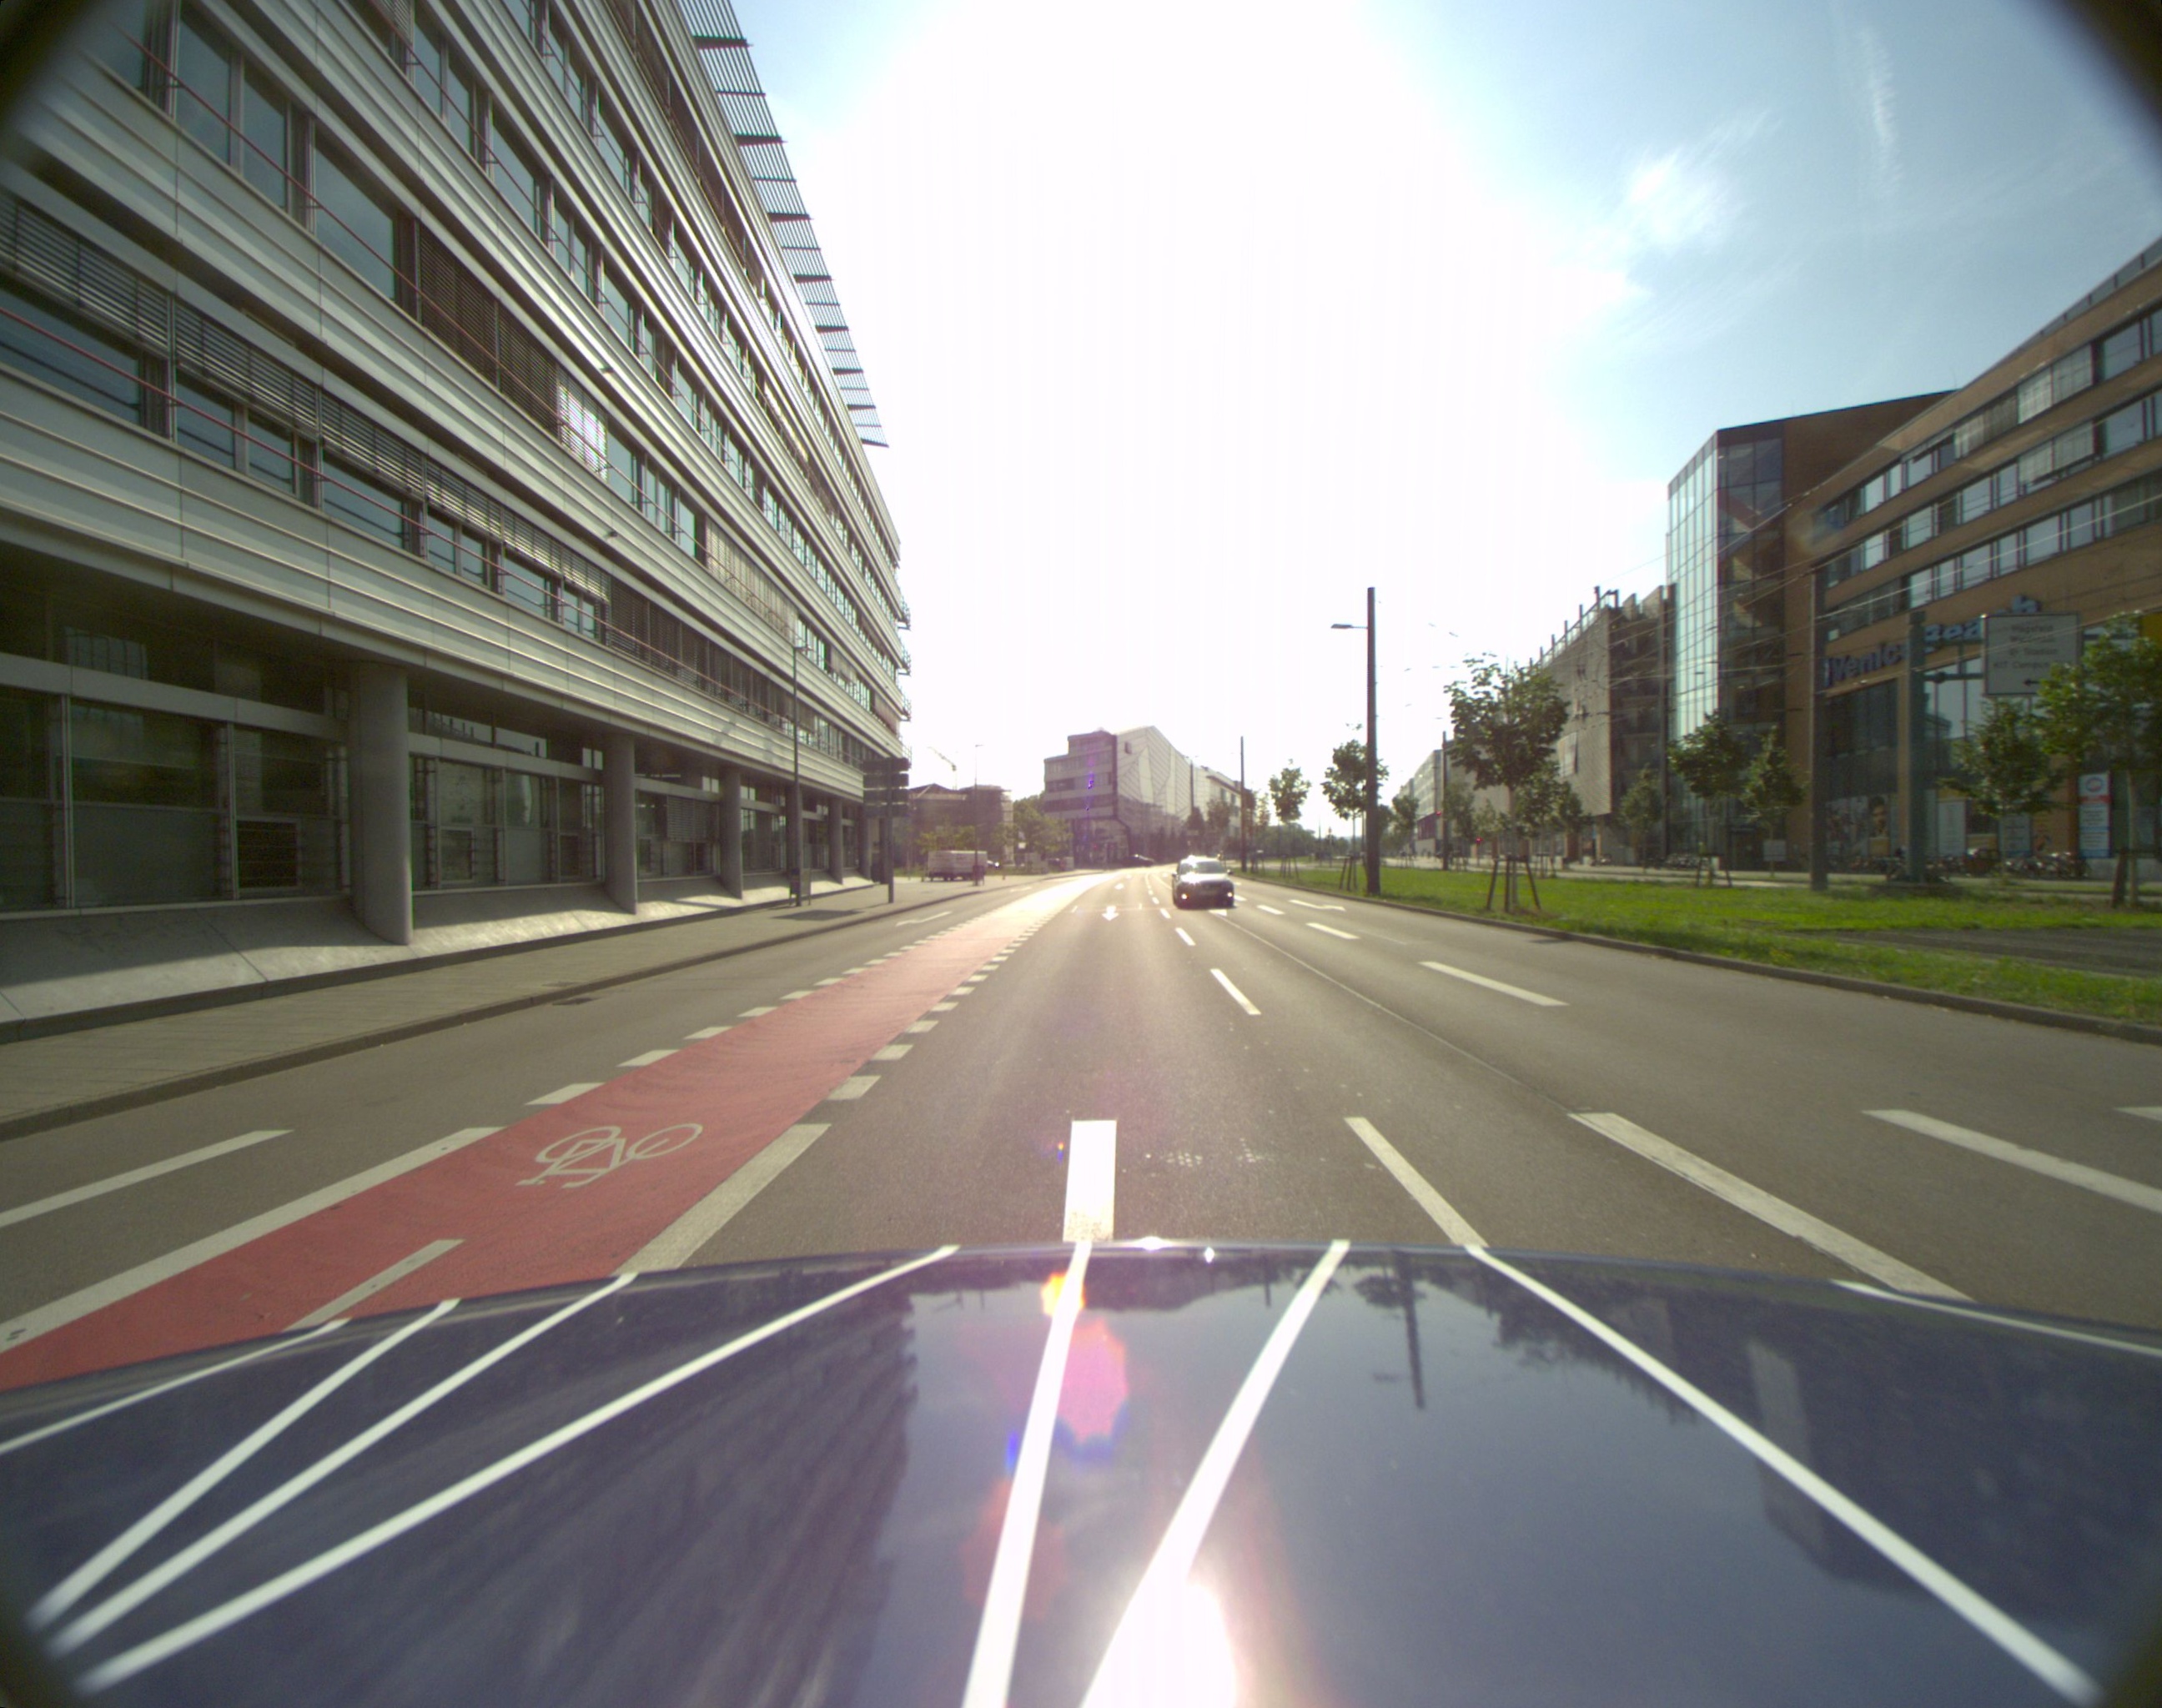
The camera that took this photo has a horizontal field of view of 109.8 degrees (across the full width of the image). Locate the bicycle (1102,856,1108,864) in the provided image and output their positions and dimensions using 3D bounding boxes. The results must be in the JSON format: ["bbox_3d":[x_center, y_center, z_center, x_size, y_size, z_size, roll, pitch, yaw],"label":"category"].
[{"bbox_3d":[3.447,0.854,109.700,0.669,1.092,1.805,-1,2,8],"label":"bicycle"}]

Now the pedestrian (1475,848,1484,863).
[{"bbox_3d":[43.107,0.165,82.198,0.762,1.570,0.590,0,1,14],"label":"pedestrian"}]

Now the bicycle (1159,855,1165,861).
[{"bbox_3d":[13.963,0.693,130.712,0.418,1.050,1.963,0,2,25],"label":"bicycle"}]

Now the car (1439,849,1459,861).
[{"bbox_3d":[39.348,0.096,81.216,1.367,1.199,2.640,0,2,13],"label":"car"}]

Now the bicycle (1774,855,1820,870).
[{"bbox_3d":[44.047,0.514,46.747,2.051,0.916,0.574,-1,1,13],"label":"bicycle"}]

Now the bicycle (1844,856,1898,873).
[{"bbox_3d":[42.695,0.575,41.063,2.051,0.916,0.574,-1,1,13],"label":"bicycle"}]

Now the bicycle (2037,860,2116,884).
[{"bbox_3d":[40.673,0.735,31.066,2.051,0.916,0.574,-1,1,13],"label":"bicycle"}]

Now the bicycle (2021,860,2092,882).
[{"bbox_3d":[40.803,0.711,31.792,2.051,0.916,0.381,-1,1,13],"label":"bicycle"}]

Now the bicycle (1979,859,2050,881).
[{"bbox_3d":[41.035,0.701,33.423,2.051,0.916,0.574,-1,1,13],"label":"bicycle"}]

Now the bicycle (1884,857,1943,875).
[{"bbox_3d":[42.160,0.611,38.485,2.051,0.916,0.574,-1,1,13],"label":"bicycle"}]

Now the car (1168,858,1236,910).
[{"bbox_3d":[3.692,0.875,23.755,1.643,1.411,3.895,-1,1,3],"label":"car"}]

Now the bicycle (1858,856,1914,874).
[{"bbox_3d":[42.555,0.605,40.201,2.051,0.916,0.574,-1,1,13],"label":"bicycle"}]

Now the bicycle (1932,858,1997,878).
[{"bbox_3d":[41.725,0.676,35.905,2.051,0.916,0.574,-1,1,13],"label":"bicycle"}]

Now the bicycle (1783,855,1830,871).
[{"bbox_3d":[43.904,0.537,46.024,2.051,0.916,0.574,-1,1,13],"label":"bicycle"}]

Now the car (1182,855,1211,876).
[{"bbox_3d":[7.838,0.750,51.855,1.587,1.335,3.165,-1,0,2],"label":"car"}]

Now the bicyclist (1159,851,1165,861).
[{"bbox_3d":[13.977,0.372,130.677,0.781,1.577,0.933,0,2,25],"label":"bicyclist"}]

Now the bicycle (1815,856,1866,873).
[{"bbox_3d":[43.131,0.602,43.185,2.051,0.916,0.574,-1,1,13],"label":"bicycle"}]

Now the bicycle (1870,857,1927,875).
[{"bbox_3d":[42.368,0.610,39.380,2.051,0.916,0.574,-1,1,13],"label":"bicycle"}]

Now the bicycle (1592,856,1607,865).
[{"bbox_3d":[45.111,0.559,66.126,1.022,0.747,0.361,-1,1,20],"label":"bicycle"}]

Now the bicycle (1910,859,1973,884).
[{"bbox_3d":[35.209,0.709,31.100,1.679,0.902,0.710,-2,1,3],"label":"bicycle"}]

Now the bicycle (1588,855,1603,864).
[{"bbox_3d":[45.515,0.510,67.248,1.004,0.747,0.453,-1,0,20],"label":"bicycle"}]

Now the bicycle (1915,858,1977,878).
[{"bbox_3d":[41.859,0.664,36.788,2.051,0.916,0.574,-1,1,13],"label":"bicycle"}]

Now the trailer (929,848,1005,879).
[{"bbox_3d":[-8.313,0.653,56.043,2.390,2.138,5.960,-1,0,30],"label":"trailer"}]

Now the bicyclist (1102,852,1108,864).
[{"bbox_3d":[3.456,0.562,109.785,0.669,1.693,0.637,-1,2,8],"label":"bicyclist"}]

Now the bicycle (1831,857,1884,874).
[{"bbox_3d":[42.856,0.617,41.972,2.051,0.916,0.574,-1,1,13],"label":"bicycle"}]

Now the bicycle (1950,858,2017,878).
[{"bbox_3d":[41.571,0.650,35.016,2.051,0.916,0.574,-1,1,13],"label":"bicycle"}]
